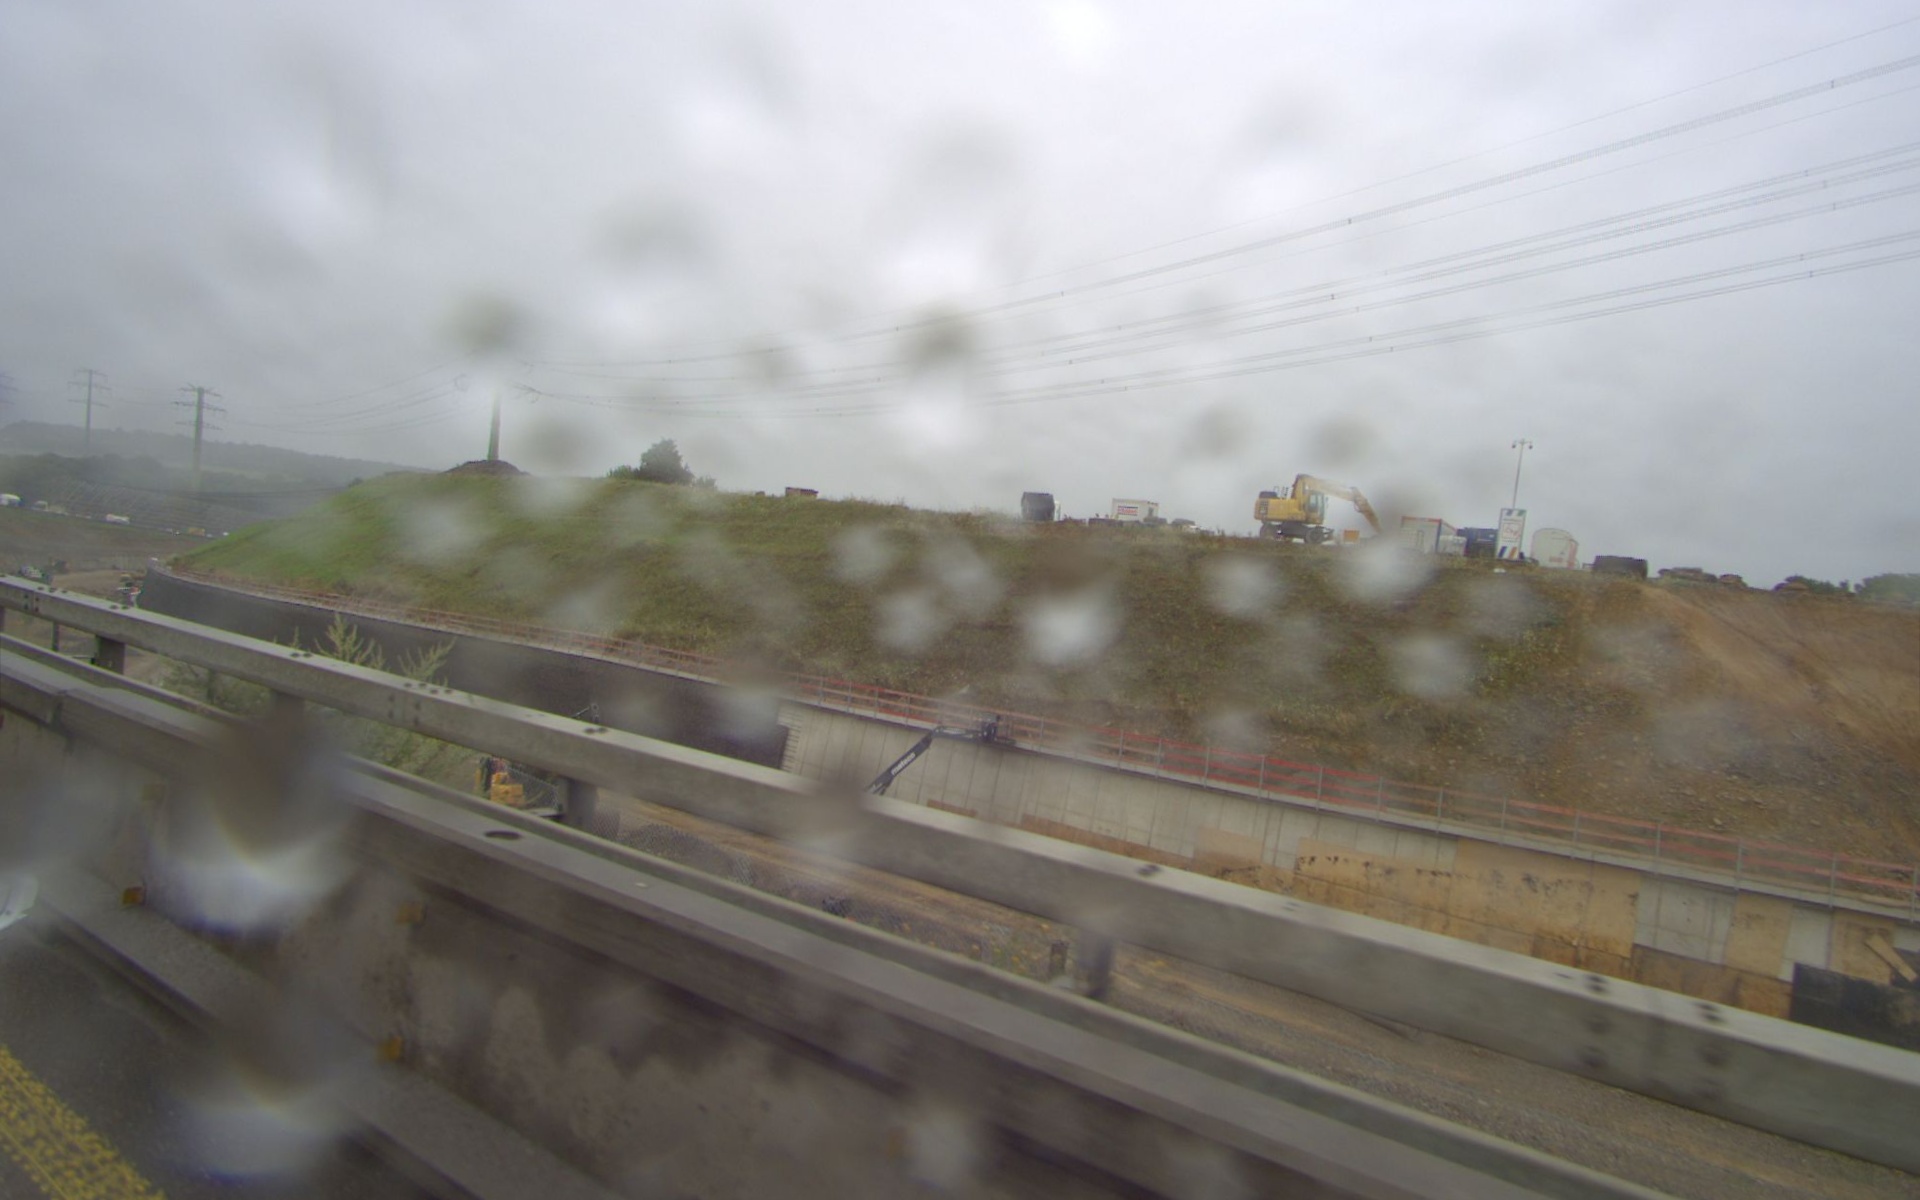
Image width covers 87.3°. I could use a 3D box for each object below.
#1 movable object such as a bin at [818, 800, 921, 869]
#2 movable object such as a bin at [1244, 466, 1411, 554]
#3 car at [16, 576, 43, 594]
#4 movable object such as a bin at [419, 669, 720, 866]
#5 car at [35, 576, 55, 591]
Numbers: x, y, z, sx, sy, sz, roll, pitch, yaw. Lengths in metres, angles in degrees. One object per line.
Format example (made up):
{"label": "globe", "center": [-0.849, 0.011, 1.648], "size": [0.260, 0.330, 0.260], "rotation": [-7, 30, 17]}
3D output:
{"label": "movable object such as a bin", "center": [-3.725, 9.618, 41.543], "size": [3.201, 1.932, 2.523], "rotation": [6, -3, 29]}
{"label": "movable object such as a bin", "center": [20.985, -5.226, 57.642], "size": [8.051, 4.259, 3.098], "rotation": [7, 1, 36]}
{"label": "car", "center": [-137.974, -2.246, 149.135], "size": [3.944, 2.037, 2.363], "rotation": [6, -2, 41]}
{"label": "movable object such as a bin", "center": [-15.802, 6.289, 40.194], "size": [11.905, 5.732, 4.900], "rotation": [4, -4, 35]}
{"label": "car", "center": [-147.666, -2.662, 162.412], "size": [3.947, 1.837, 1.990], "rotation": [6, -1, 43]}
